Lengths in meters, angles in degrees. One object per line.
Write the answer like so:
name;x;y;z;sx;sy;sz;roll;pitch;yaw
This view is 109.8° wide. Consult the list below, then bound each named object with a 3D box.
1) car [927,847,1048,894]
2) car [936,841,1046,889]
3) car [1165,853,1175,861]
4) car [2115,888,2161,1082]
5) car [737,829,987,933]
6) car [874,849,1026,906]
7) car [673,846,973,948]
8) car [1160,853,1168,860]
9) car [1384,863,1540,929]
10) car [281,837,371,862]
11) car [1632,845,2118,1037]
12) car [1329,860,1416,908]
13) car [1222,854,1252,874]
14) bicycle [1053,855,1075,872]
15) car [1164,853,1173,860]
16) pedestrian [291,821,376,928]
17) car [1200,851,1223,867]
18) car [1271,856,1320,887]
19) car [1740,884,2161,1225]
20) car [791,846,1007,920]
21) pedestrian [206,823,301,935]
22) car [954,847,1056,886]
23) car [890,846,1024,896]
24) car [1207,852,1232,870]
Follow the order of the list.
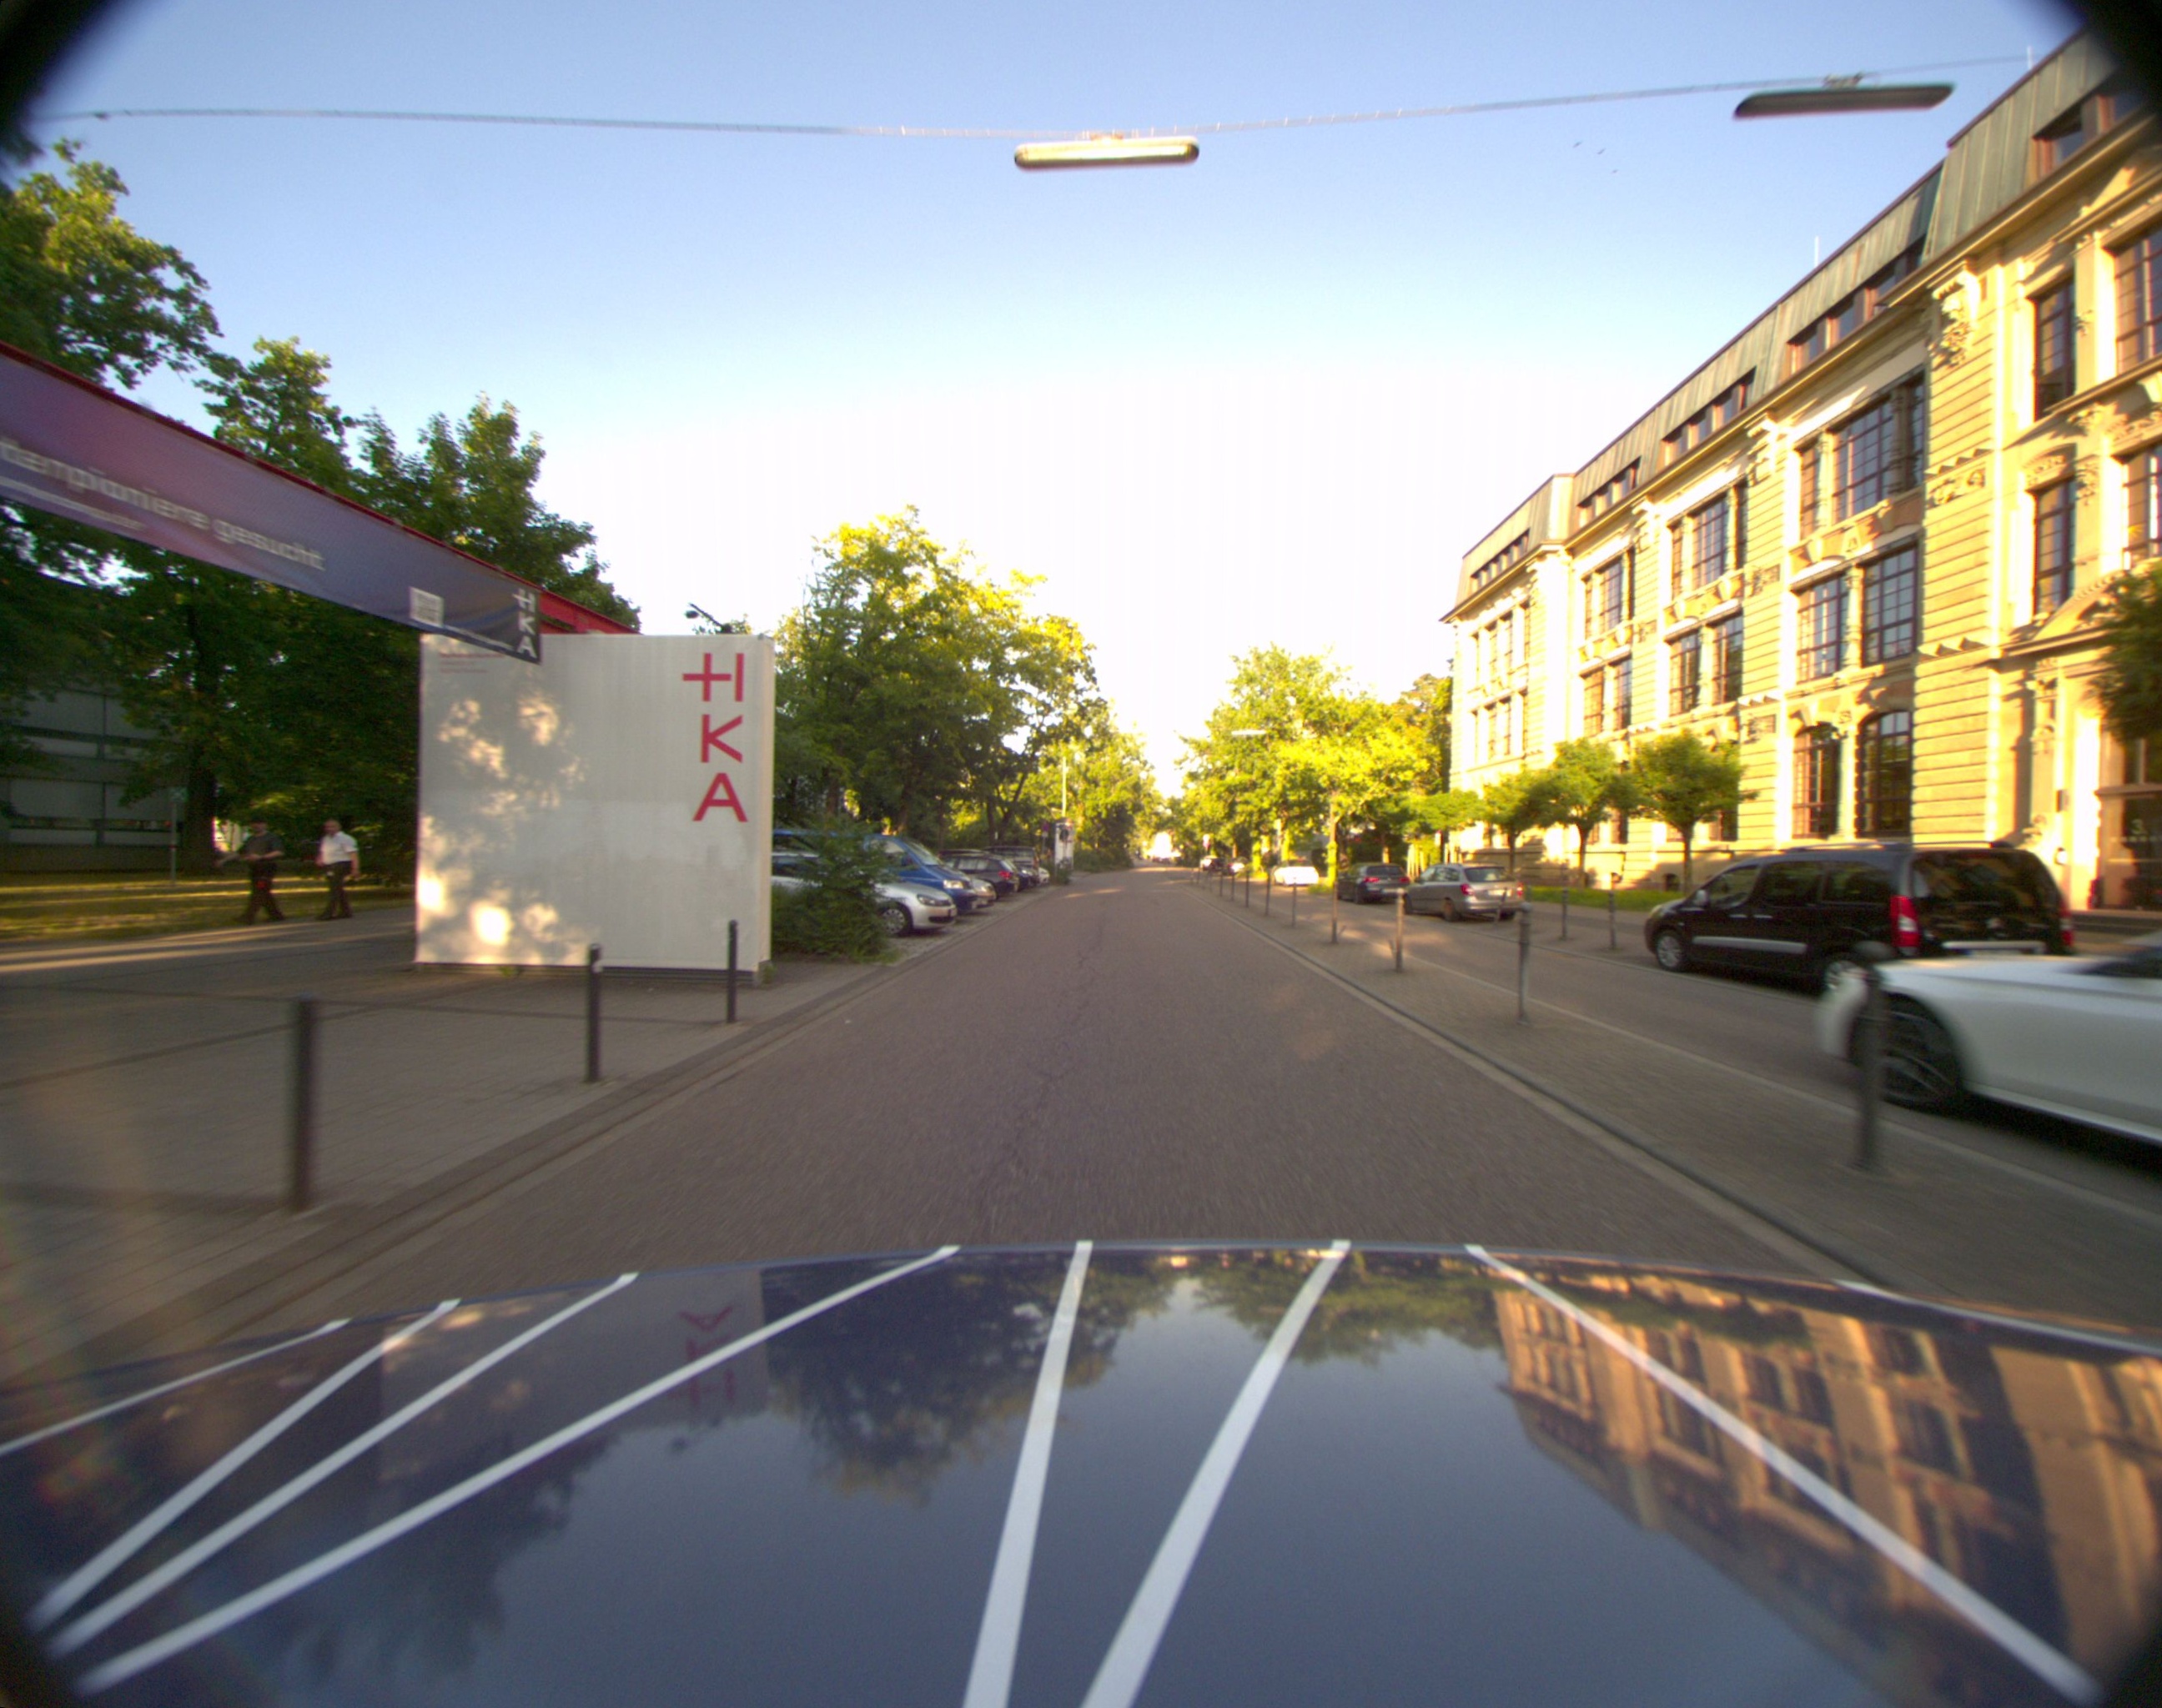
car;-3.591;0.625;29.741;4.373;1.545;1.876;3;1;3
car;-3.805;0.449;32.657;4.373;1.770;1.921;3;1;3
car;18.311;0.640;156.783;1.775;1.474;4.110;0;0;3
car;8.950;1.003;4.085;1.700;1.462;3.855;-1;0;5
car;-4.690;0.550;16.743;4.863;1.905;1.916;3;1;3
car;-4.071;0.709;24.159;4.373;1.528;1.921;3;1;3
car;-4.693;0.740;14.306;4.938;1.545;1.916;3;1;3
car;20.397;0.587;186.510;1.775;1.559;4.110;0;0;3
car;10.046;1.033;20.456;1.724;1.487;4.375;-1;0;-5
car;-46.501;-0.259;46.847;3.996;1.468;1.737;1;1;3
car;9.348;0.863;9.620;1.781;1.855;4.333;-2;0;4
car;10.308;1.005;27.211;1.621;1.487;4.378;0;0;3
car;12.407;0.758;60.672;1.806;1.502;4.864;0;0;4
bicycle;-1.176;0.681;53.149;0.492;1.141;2.289;4;0;23
car;18.707;0.554;162.902;1.775;1.559;4.110;0;0;3
pedestrian;-12.697;0.341;12.922;0.665;1.762;0.785;1;0;-1
car;13.628;0.493;79.556;1.807;1.607;4.148;1;1;3
car;11.273;0.880;40.148;1.621;1.487;3.925;0;0;3
car;5.837;0.993;3.471;1.745;1.450;4.624;1;1;3
car;-4.523;0.698;19.366;4.938;1.545;1.916;3;1;3
pedestrian;-13.389;0.389;12.320;0.648;1.762;0.790;0;1;-1
car;-3.440;0.550;34.891;4.373;1.545;1.727;3;1;3
car;-4.367;0.579;27.222;4.373;1.528;1.921;3;1;3
car;12.967;0.638;71.307;1.784;1.607;4.148;0;0;3
